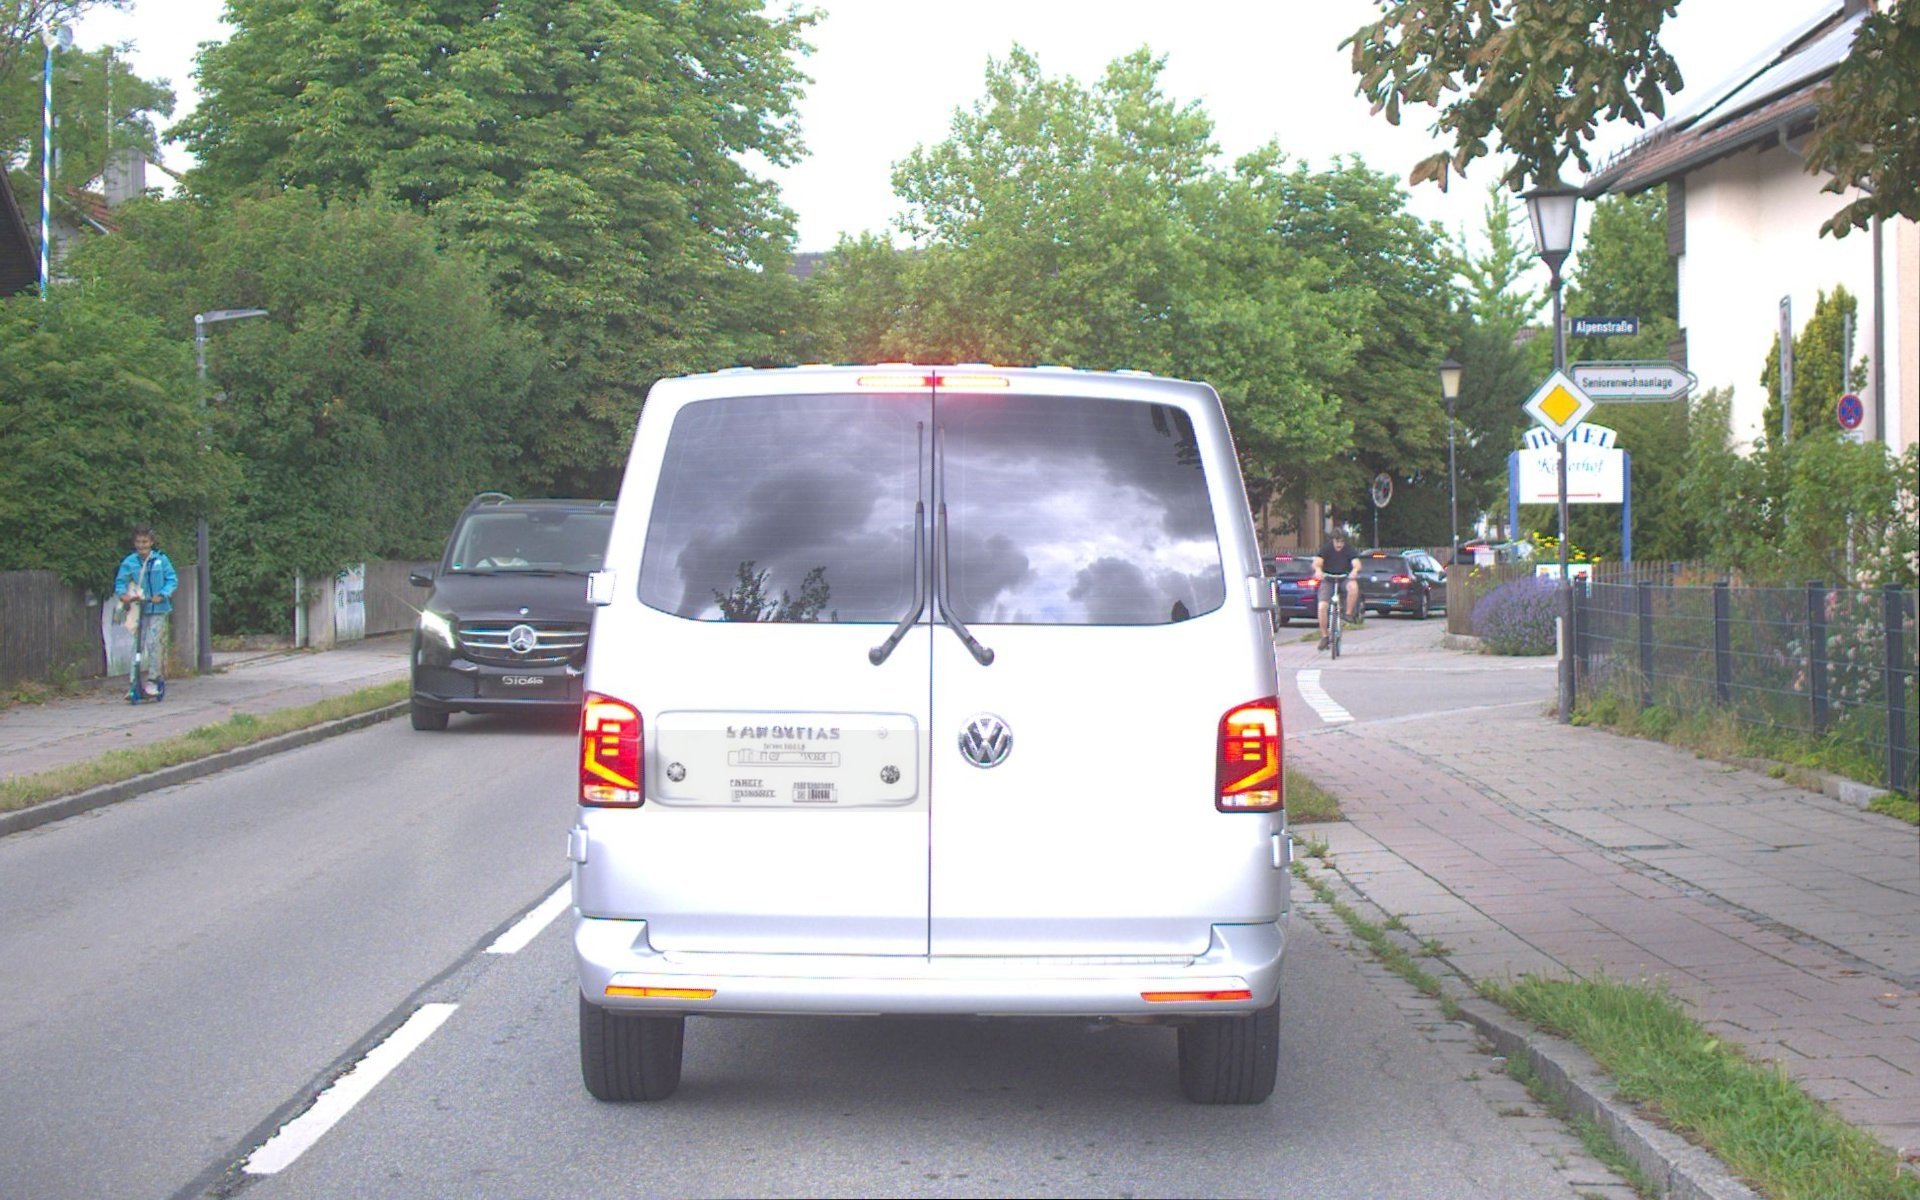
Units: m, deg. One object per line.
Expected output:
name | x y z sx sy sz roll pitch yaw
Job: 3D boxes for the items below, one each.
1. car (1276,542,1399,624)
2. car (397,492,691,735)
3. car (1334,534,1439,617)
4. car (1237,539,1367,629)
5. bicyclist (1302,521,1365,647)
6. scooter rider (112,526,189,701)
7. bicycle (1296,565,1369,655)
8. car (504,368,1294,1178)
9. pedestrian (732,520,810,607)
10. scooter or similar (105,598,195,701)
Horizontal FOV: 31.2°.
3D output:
car | 7.390 -0.354 67.047 1.882 1.530 3.918 0 1 14
car | -3.384 0.063 28.874 1.964 1.847 4.948 -1 1 -1
car | 9.217 -0.553 74.039 1.882 1.742 4.078 0 1 12
car | 6.112 -0.310 61.156 1.882 1.530 3.919 0 1 12
bicyclist | 4.909 -0.214 45.205 0.736 1.627 0.890 -1 1 1
scooter rider | -6.947 0.107 29.524 0.502 1.484 0.716 0 1 0
bicycle | 4.885 0.121 45.193 0.764 1.139 1.845 -1 1 0
car | -0.129 0.383 10.190 1.881 1.934 3.921 0 1 1
pedestrian | -3.976 -0.774 72.191 1.318 1.796 1.069 0 1 -26
scooter or similar | -6.962 0.418 29.567 0.521 0.847 1.061 0 1 0
